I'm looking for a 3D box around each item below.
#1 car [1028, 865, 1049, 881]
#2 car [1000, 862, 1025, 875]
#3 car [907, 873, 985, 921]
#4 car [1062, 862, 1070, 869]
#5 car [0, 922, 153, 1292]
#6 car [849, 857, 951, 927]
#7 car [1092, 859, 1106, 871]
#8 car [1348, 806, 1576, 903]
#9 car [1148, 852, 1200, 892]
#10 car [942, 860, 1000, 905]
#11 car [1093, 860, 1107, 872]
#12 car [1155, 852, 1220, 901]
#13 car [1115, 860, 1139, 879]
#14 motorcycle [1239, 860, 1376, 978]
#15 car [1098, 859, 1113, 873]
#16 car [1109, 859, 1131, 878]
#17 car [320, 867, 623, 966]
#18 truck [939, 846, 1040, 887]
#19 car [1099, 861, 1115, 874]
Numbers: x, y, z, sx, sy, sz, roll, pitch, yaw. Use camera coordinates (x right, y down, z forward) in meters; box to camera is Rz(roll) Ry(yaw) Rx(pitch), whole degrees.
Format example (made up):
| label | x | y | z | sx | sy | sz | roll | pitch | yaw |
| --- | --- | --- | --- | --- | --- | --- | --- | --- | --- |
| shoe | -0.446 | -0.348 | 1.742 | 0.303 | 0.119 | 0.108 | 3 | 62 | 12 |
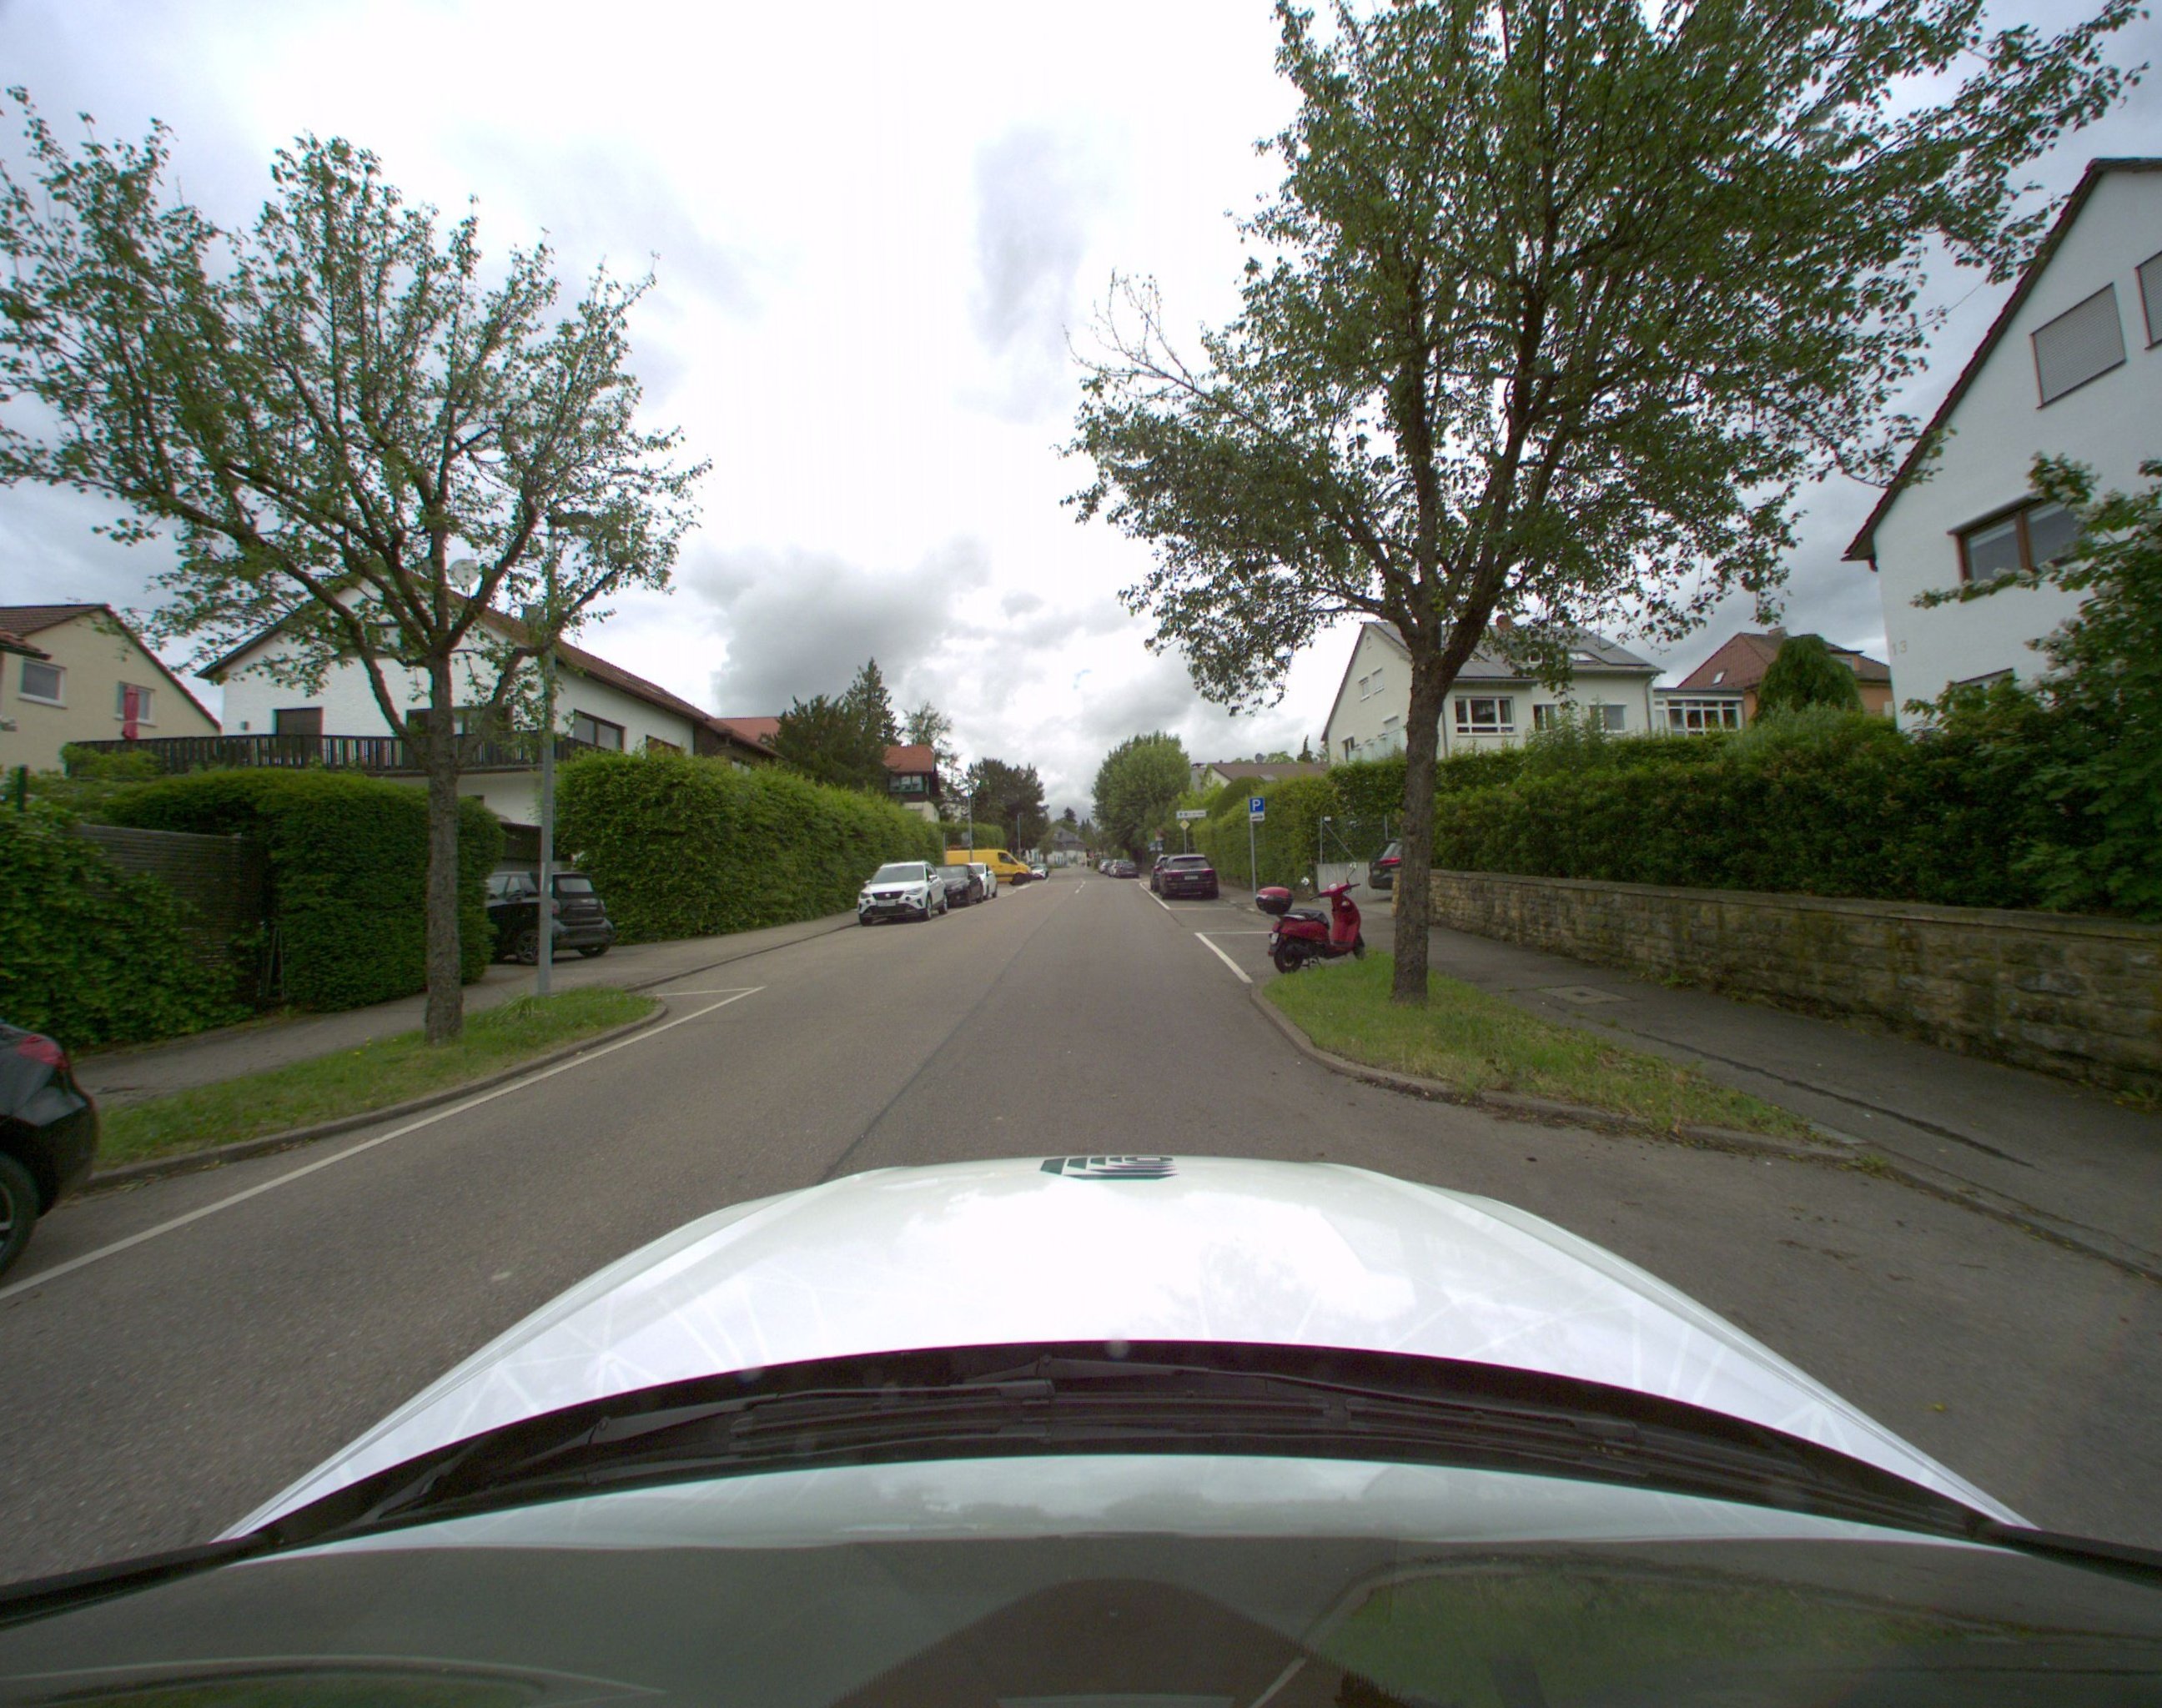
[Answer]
| label | x | y | z | sx | sy | sz | roll | pitch | yaw |
| --- | --- | --- | --- | --- | --- | --- | --- | --- | --- |
| car | -4.054 | 1.769 | 77.212 | 1.663 | 1.399 | 3.459 | -2 | 0 | -7 |
| car | -10.870 | 2.290 | 129.229 | 3.839 | 1.737 | 1.638 | -3 | 0 | -6 |
| car | -4.488 | 1.397 | 27.559 | 1.756 | 1.388 | 4.001 | -4 | -2 | 2 |
| car | -3.488 | 2.718 | 191.917 | 1.818 | 1.420 | 3.997 | -2 | 0 | -2 |
| car | -5.234 | 1.059 | 1.720 | 1.720 | 1.423 | 4.081 | -4 | -1 | 2 |
| car | -4.659 | 0.921 | 21.514 | 1.717 | 1.540 | 3.999 | -3 | 0 | 0 |
| car | 2.606 | 1.553 | 118.421 | 1.639 | 1.668 | 3.464 | -2 | 0 | -2 |
| car | 8.925 | 0.015 | 19.364 | 4.351 | 1.468 | 1.968 | -10 | 0 | 0 |
| car | 3.845 | 0.708 | 34.328 | 1.875 | 1.533 | 4.478 | -1 | 0 | 3 |
| car | -4.312 | 1.082 | 32.454 | 1.624 | 1.523 | 3.639 | -4 | 0 | 2 |
| car | 2.580 | 1.604 | 110.153 | 1.661 | 1.501 | 3.464 | -2 | 0 | -2 |
| car | 3.612 | 0.734 | 28.355 | 1.875 | 1.533 | 4.478 | -1 | 0 | 3 |
| car | 4.020 | 1.338 | 71.510 | 1.661 | 1.501 | 3.464 | -2 | 0 | -2 |
| motorcycle | 2.976 | 0.794 | 10.600 | 1.876 | 1.346 | 0.593 | -2 | 0 | -34 |
| car | 3.083 | 1.496 | 103.309 | 1.661 | 1.668 | 3.464 | -2 | 0 | -2 |
| car | 3.668 | 1.294 | 76.283 | 1.709 | 1.657 | 3.619 | -2 | 0 | -2 |
| car | -10.362 | 1.023 | 14.024 | 3.967 | 1.533 | 1.791 | 0 | 0 | 5 |
| truck | -5.809 | 0.829 | 51.290 | 5.944 | 2.309 | 2.810 | -1 | -4 | -16 |
| car | 3.066 | 1.596 | 96.185 | 1.661 | 1.501 | 3.464 | -2 | 0 | -2 |
